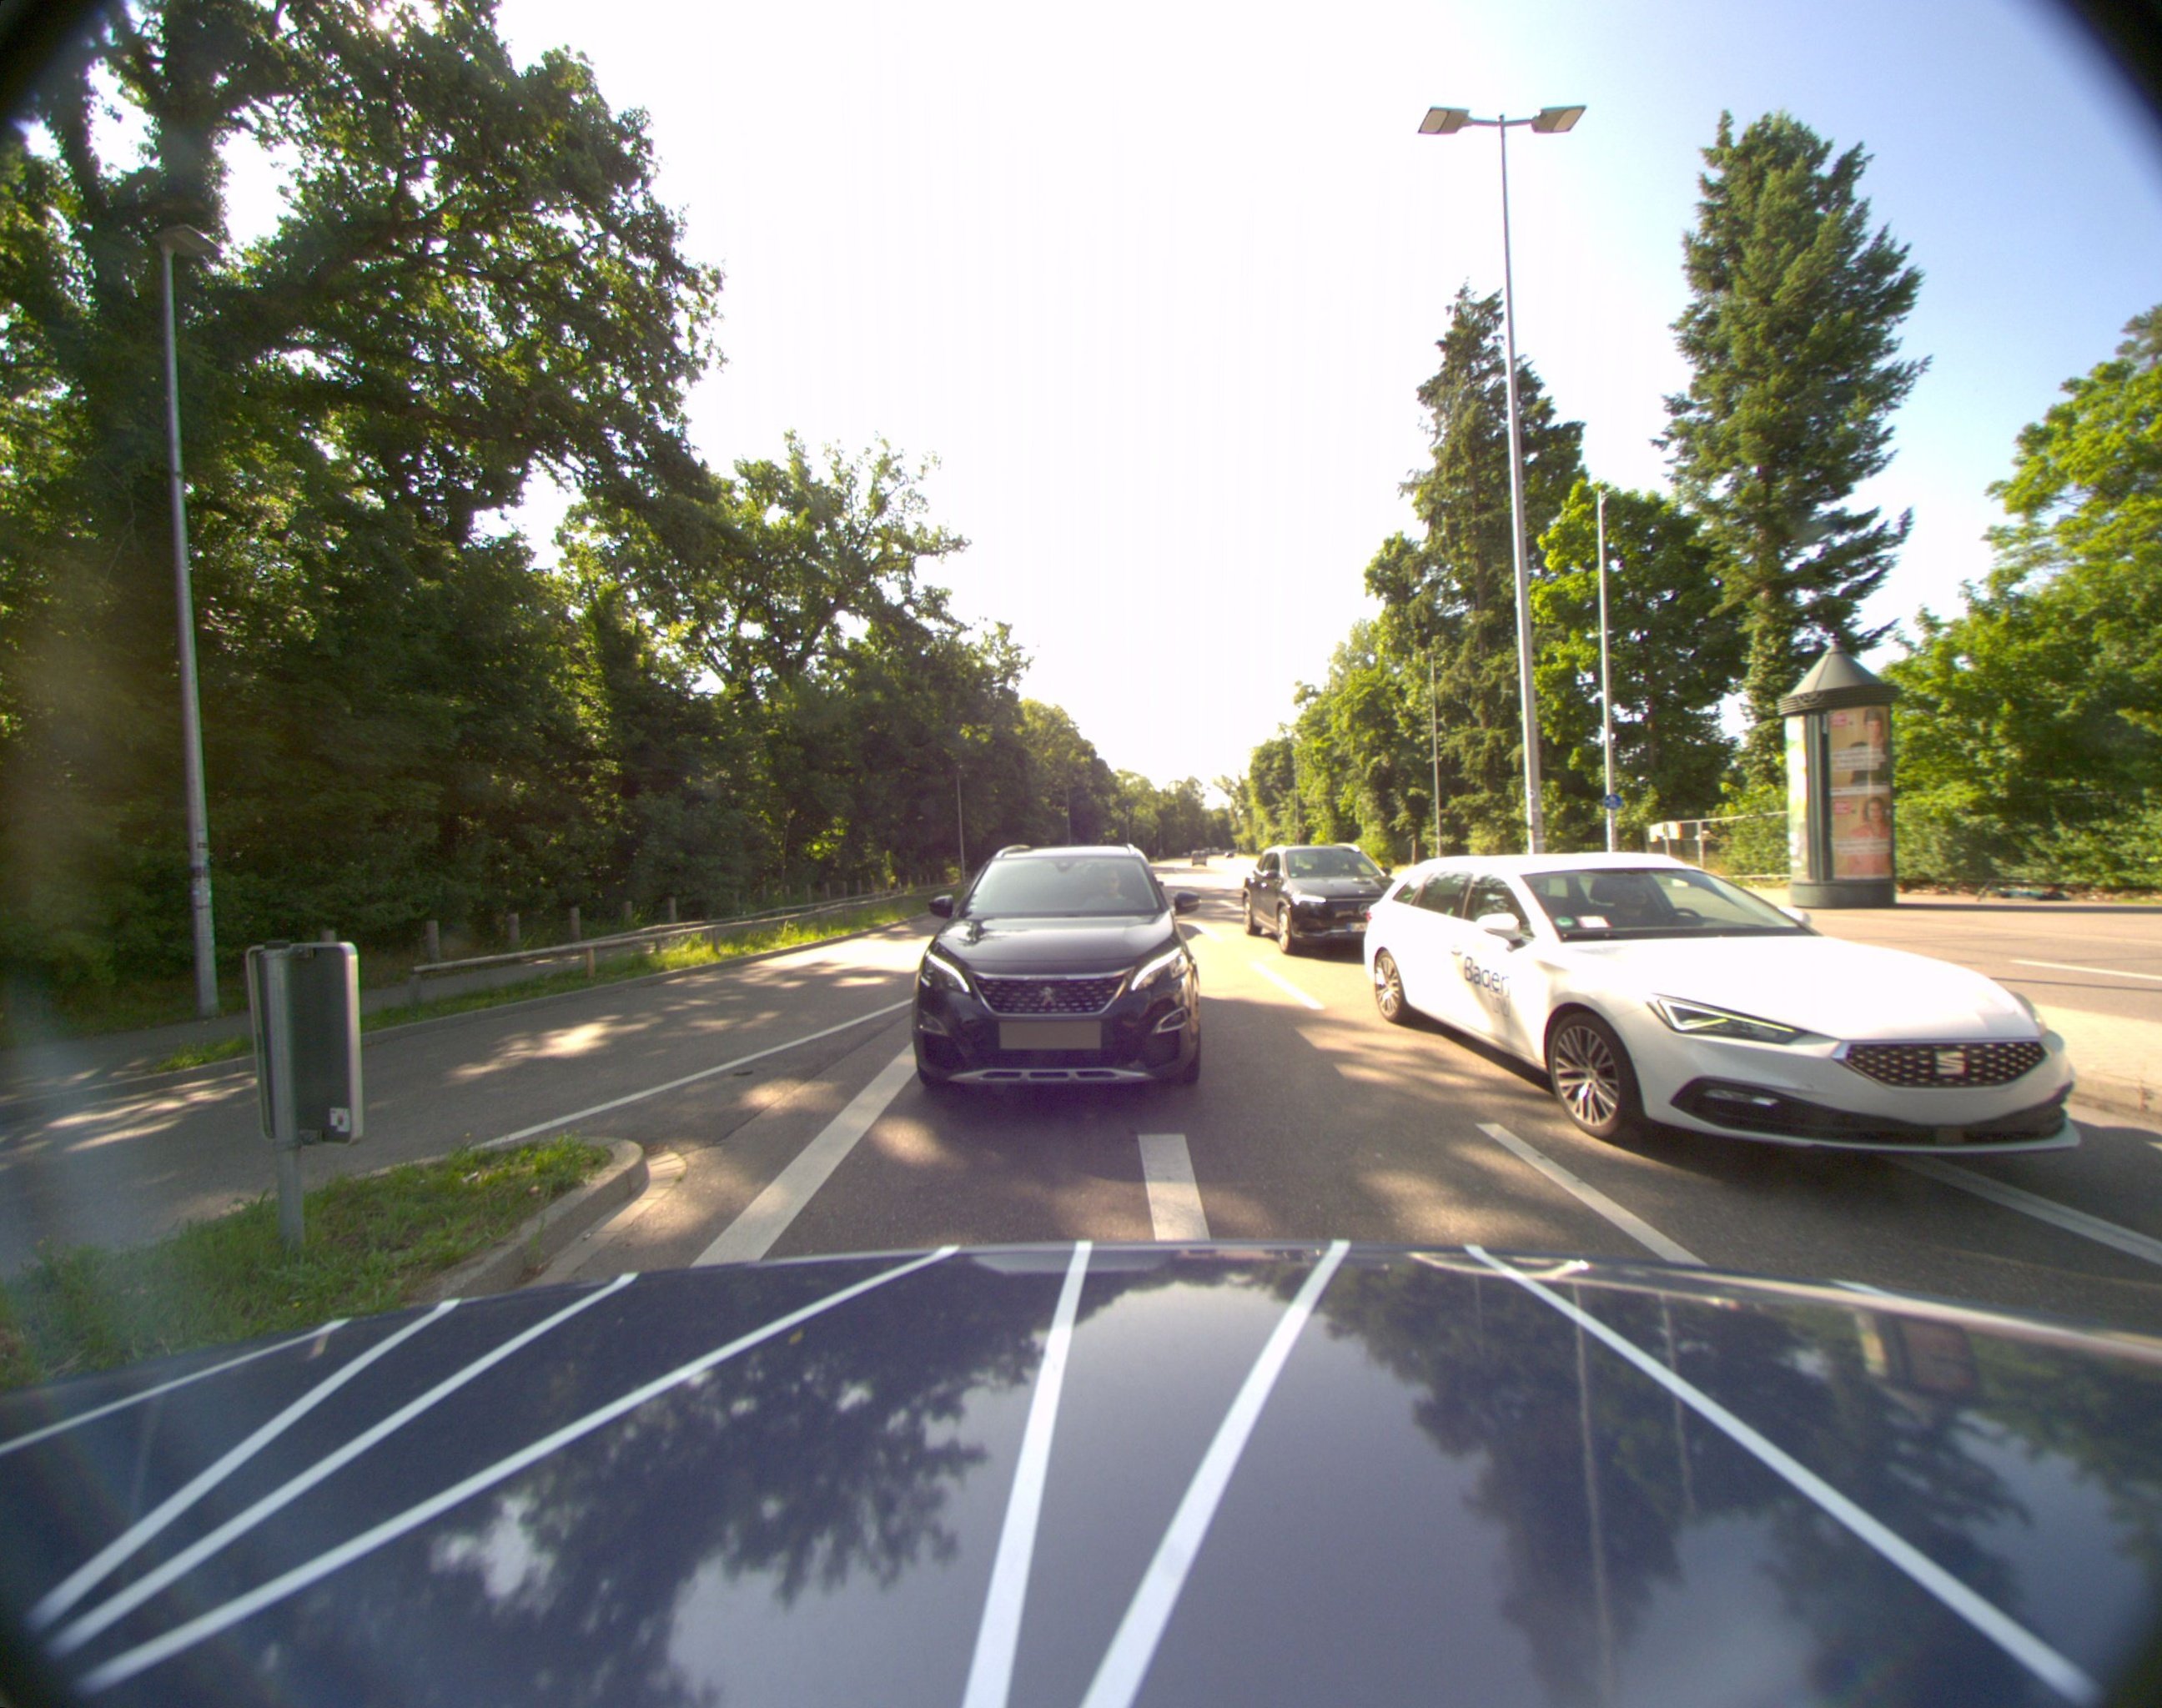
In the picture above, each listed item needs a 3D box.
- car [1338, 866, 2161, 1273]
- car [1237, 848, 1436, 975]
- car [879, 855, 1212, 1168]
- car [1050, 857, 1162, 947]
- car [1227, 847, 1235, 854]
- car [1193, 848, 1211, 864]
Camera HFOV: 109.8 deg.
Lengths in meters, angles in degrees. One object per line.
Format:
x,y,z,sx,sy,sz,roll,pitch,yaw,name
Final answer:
3.398,0.854,5.222,1.729,1.418,4.720,-1,0,1,car
3.755,0.763,11.996,1.809,1.586,4.274,-2,0,2,car
-0.157,0.846,6.199,1.702,1.581,4.319,-2,0,1,car
0.477,0.863,15.588,1.933,1.499,4.000,-2,0,1,car
36.400,-0.896,184.251,1.855,1.608,4.003,-2,0,12,car
14.868,0.183,93.677,1.876,1.849,4.002,-2,0,6,car
